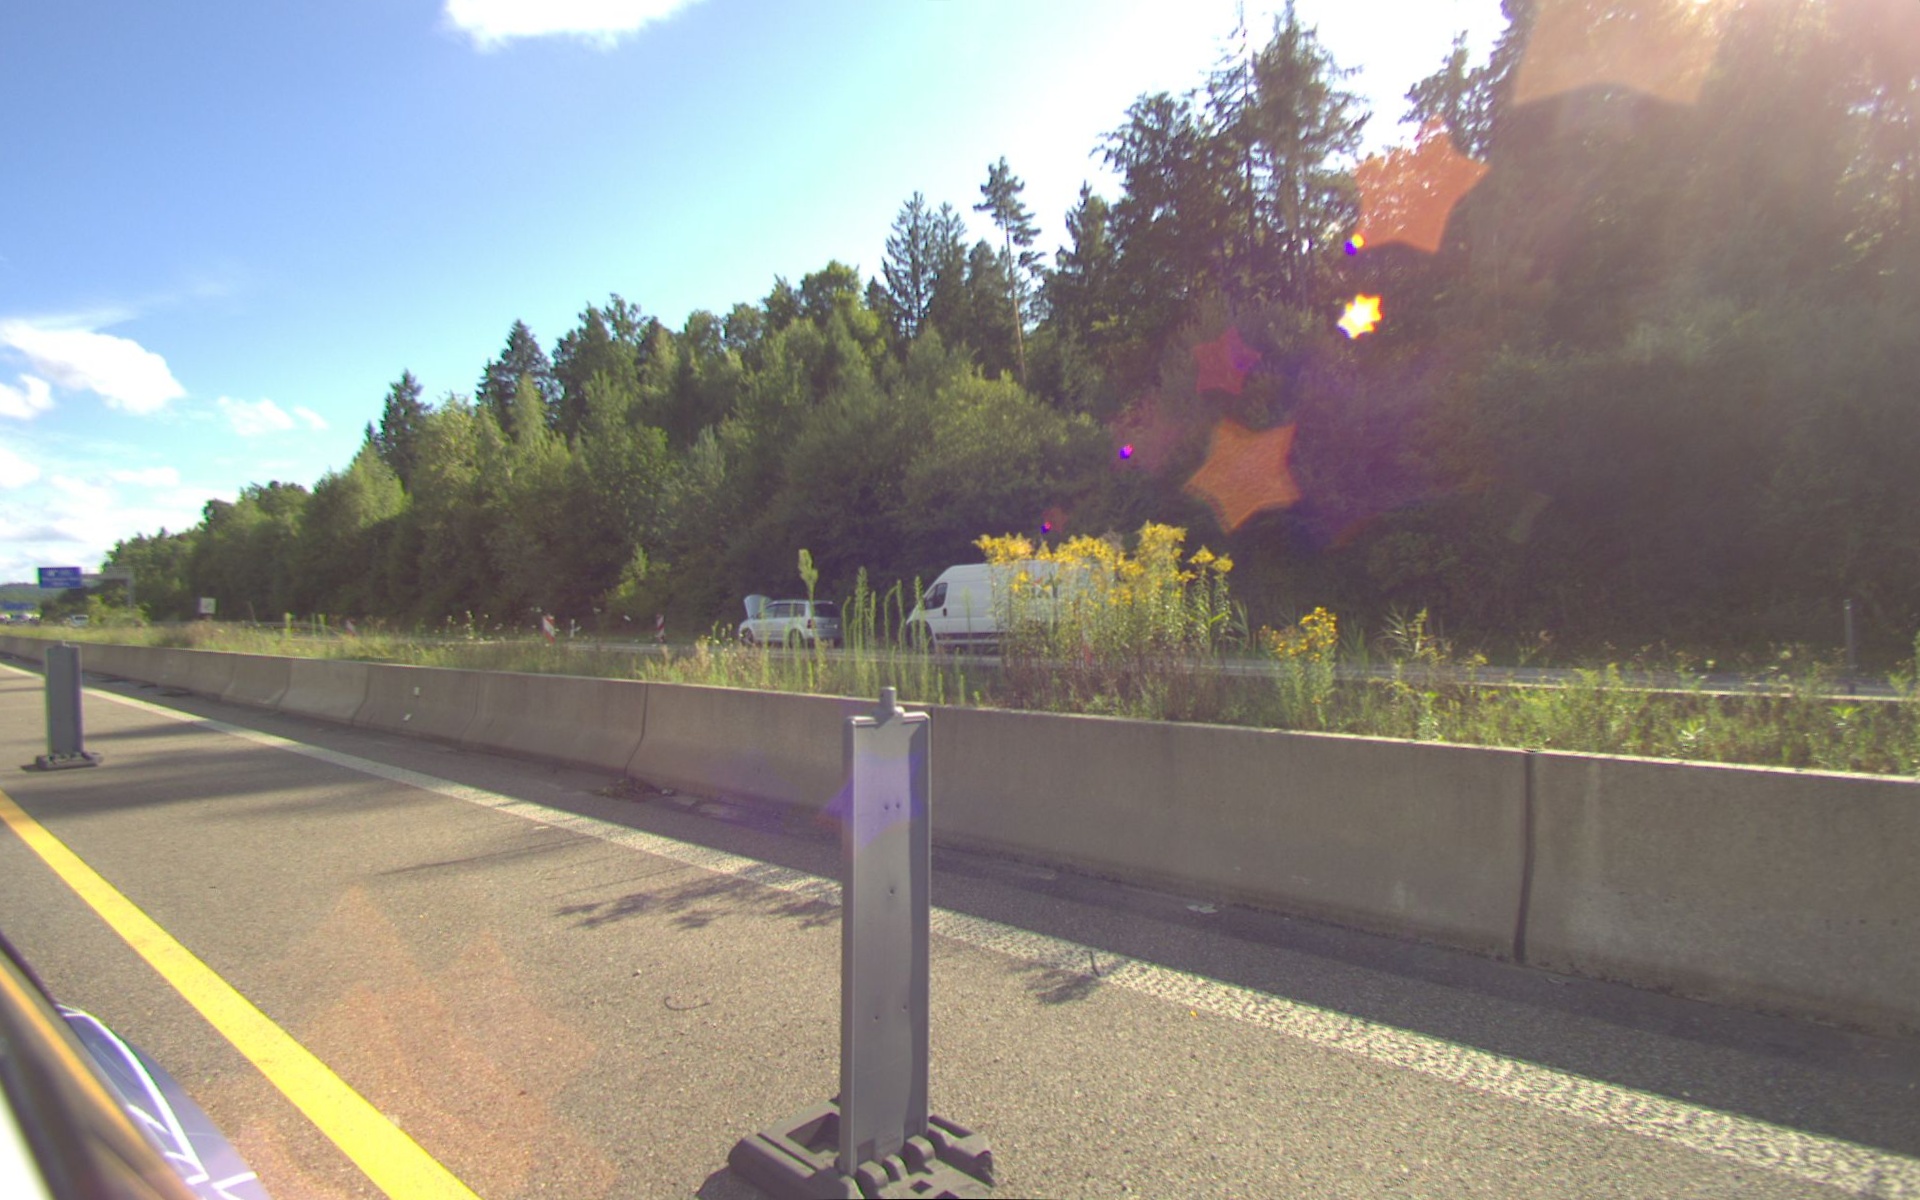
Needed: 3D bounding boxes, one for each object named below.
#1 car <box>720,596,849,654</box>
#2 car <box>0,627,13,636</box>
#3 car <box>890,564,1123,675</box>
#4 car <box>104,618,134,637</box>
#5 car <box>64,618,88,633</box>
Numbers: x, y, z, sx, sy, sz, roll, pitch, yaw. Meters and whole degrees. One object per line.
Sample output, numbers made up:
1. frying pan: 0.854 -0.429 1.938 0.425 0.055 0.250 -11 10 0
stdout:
1. car: -6.089 0.823 34.765 4.760 1.867 1.841 -1 0 42
2. car: -166.946 5.429 176.791 4.103 1.467 1.759 -1 0 42
3. car: 1.104 0.501 27.490 6.521 2.705 2.006 -1 0 42
4. car: -84.609 2.779 101.787 4.364 1.799 1.759 -1 0 42
5. car: -112.154 3.246 128.402 4.364 1.799 1.759 -1 0 42
